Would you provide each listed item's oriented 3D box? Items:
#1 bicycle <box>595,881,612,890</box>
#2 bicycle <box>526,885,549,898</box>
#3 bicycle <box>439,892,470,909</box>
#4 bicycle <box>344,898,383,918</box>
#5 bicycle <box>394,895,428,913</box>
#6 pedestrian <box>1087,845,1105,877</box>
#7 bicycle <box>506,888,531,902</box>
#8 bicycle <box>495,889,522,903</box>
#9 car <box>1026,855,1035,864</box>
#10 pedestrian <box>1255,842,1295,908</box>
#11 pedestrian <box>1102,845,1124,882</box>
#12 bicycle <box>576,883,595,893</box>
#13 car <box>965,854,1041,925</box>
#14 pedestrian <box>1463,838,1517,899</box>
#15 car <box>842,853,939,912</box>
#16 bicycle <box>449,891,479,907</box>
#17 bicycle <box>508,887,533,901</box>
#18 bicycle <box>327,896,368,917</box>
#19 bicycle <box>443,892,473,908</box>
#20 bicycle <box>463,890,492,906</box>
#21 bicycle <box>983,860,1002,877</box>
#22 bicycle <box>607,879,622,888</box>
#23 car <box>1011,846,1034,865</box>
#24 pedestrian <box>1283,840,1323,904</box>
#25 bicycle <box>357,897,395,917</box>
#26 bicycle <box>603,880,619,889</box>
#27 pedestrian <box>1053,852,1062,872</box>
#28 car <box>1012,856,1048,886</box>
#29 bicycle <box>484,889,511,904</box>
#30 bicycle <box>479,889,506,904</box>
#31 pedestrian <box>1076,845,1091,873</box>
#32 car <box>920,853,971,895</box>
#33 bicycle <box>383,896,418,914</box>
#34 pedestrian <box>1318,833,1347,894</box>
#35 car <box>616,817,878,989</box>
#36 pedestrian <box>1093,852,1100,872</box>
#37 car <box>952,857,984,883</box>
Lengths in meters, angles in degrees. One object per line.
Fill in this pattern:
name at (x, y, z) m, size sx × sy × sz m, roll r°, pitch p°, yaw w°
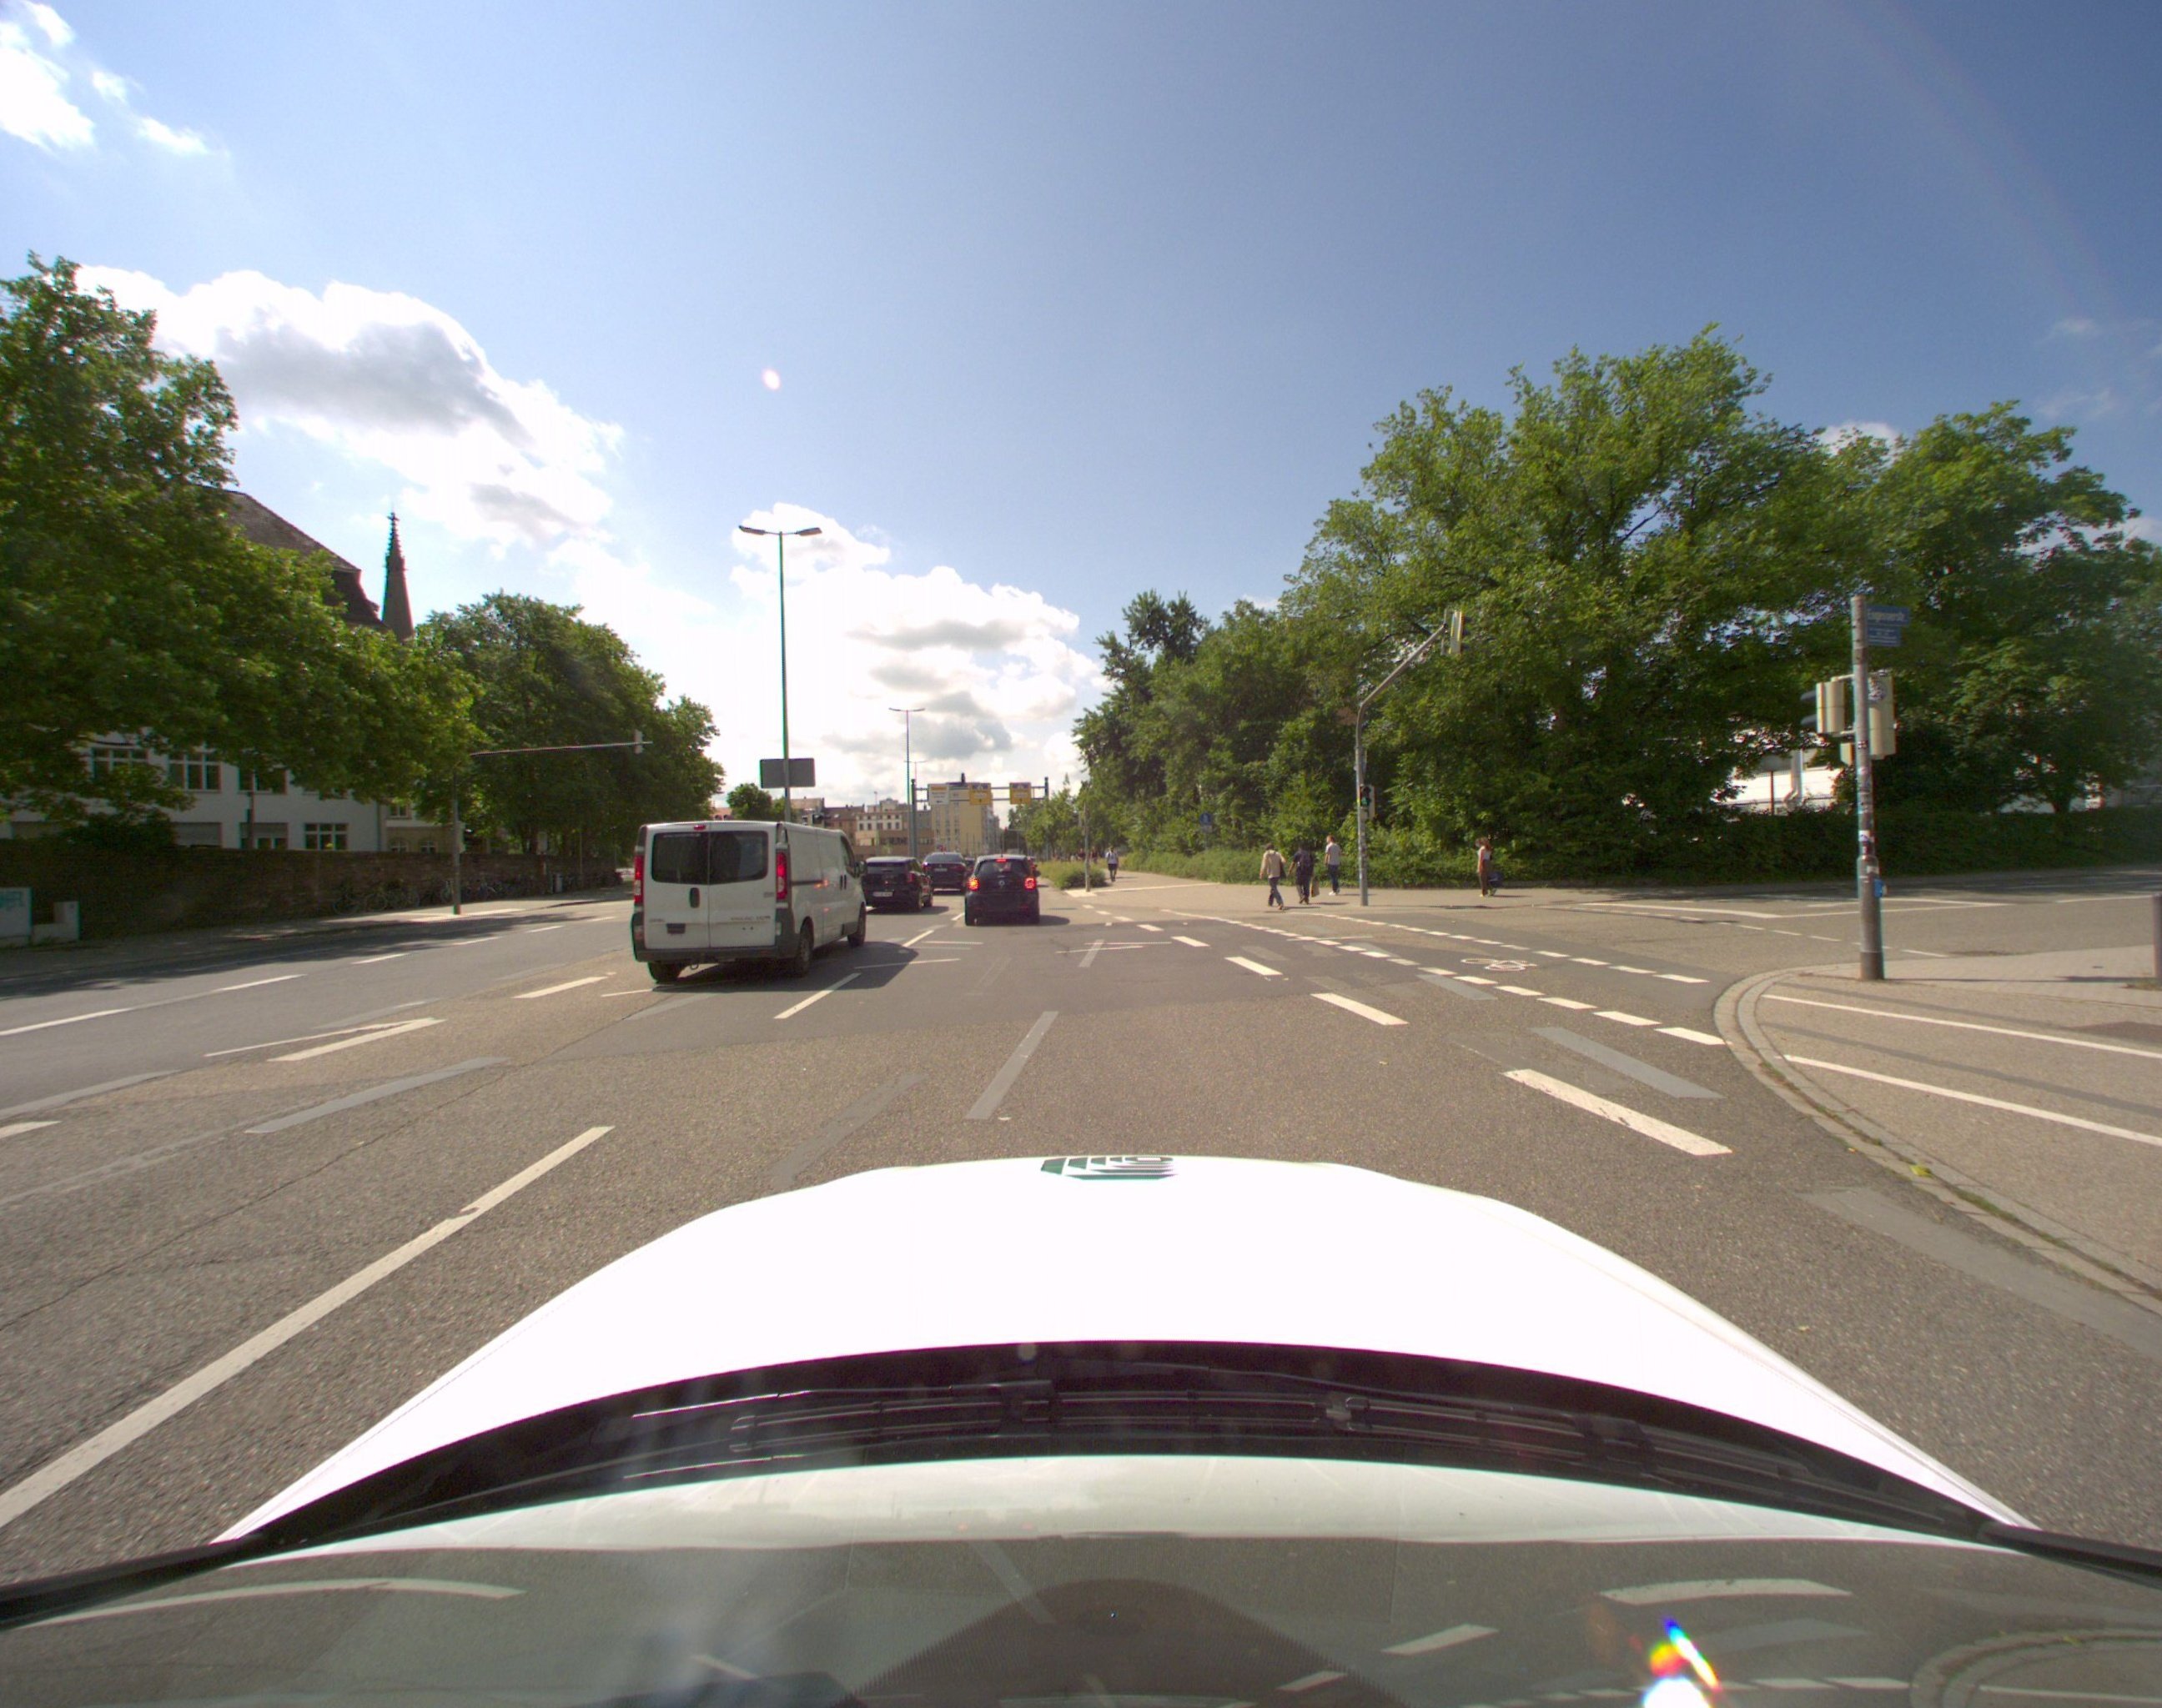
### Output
bicycle at (-35.515, 2.356, 60.568) m, size 0.404 × 0.682 × 1.013 m, roll -1°, pitch -1°, yaw 42°
bicycle at (-30.367, 2.111, 45.509) m, size 0.404 × 0.682 × 1.013 m, roll -1°, pitch -1°, yaw 42°
bicycle at (-27.313, 2.029, 35.486) m, size 0.404 × 0.682 × 1.013 m, roll -1°, pitch -1°, yaw 42°
bicycle at (-26.002, 1.953, 29.542) m, size 1.011 × 0.682 × 0.404 m, roll 0°, pitch -1°, yaw -35°
bicycle at (-27.007, 1.996, 32.845) m, size 1.011 × 0.682 × 0.404 m, roll 0°, pitch -1°, yaw -35°
pedestrian at (0.868, 0.422, 48.131) m, size 0.838 × 1.868 × 1.016 m, roll -2°, pitch 0°, yaw -9°
bicycle at (-29.267, 2.118, 42.389) m, size 0.404 × 0.682 × 1.013 m, roll -1°, pitch -1°, yaw 42°
bicycle at (-28.923, 2.102, 41.144) m, size 0.404 × 0.682 × 1.013 m, roll -1°, pitch -1°, yaw 42°
car at (-10.978, 1.152, 178.275) m, size 1.939 × 1.963 × 3.945 m, roll 0°, pitch -1°, yaw -3°
pedestrian at (5.183, 0.547, 21.816) m, size 0.792 × 1.704 × 1.183 m, roll -1°, pitch 0°, yaw 2°
pedestrian at (1.538, 0.463, 39.308) m, size 0.850 × 1.701 × 0.929 m, roll -3°, pitch -1°, yaw -7°
bicycle at (-33.084, 2.274, 54.354) m, size 0.404 × 0.682 × 1.013 m, roll -1°, pitch -1°, yaw 42°
car at (-1.856, 0.770, 19.127) m, size 1.609 × 1.485 × 3.509 m, roll -1°, pitch -1°, yaw -7°
pedestrian at (11.326, 0.385, 22.577) m, size 0.860 × 1.626 × 1.010 m, roll -3°, pitch 2°, yaw -32°
car at (-5.410, 0.772, 23.803) m, size 2.013 × 1.530 × 4.879 m, roll 0°, pitch -1°, yaw -4°
bicycle at (-27.886, 2.047, 36.818) m, size 0.404 × 0.682 × 1.013 m, roll -1°, pitch -1°, yaw 42°
bicycle at (-29.648, 2.107, 43.078) m, size 0.404 × 0.682 × 1.013 m, roll -1°, pitch -1°, yaw 42°
bicycle at (-25.619, 1.833, 28.449) m, size 1.011 × 0.682 × 0.404 m, roll 0°, pitch -1°, yaw -35°
bicycle at (-27.612, 2.037, 36.102) m, size 0.404 × 0.682 × 1.013 m, roll -1°, pitch -1°, yaw 42°
bicycle at (-28.509, 2.069, 38.487) m, size 0.404 × 0.682 × 1.013 m, roll -1°, pitch -1°, yaw 42°
bicycle at (-10.582, 1.744, 97.187) m, size 1.993 × 2.014 × 3.988 m, roll 0°, pitch -1°, yaw -9°
bicycle at (-38.489, 2.444, 67.247) m, size 0.404 × 0.682 × 1.013 m, roll -1°, pitch -1°, yaw 42°
car at (-4.484, 0.107, 62.522) m, size 1.609 × 1.411 × 3.509 m, roll 0°, pitch 0°, yaw -7°
pedestrian at (6.112, 0.483, 22.490) m, size 0.792 × 1.704 × 1.183 m, roll -1°, pitch 0°, yaw 2°
bicycle at (-26.291, 1.964, 30.376) m, size 1.011 × 0.682 × 0.404 m, roll 0°, pitch -1°, yaw -35°
bicycle at (-36.657, 2.395, 63.520) m, size 0.404 × 0.682 × 1.013 m, roll -1°, pitch -1°, yaw 42°
pedestrian at (-2.437, 0.835, 84.324) m, size 0.838 × 1.969 × 0.858 m, roll -2°, pitch 0°, yaw -9°
car at (-2.581, 0.815, 40.301) m, size 1.609 × 1.411 × 3.509 m, roll 0°, pitch 0°, yaw -7°
bicycle at (-28.753, 2.090, 40.155) m, size 0.404 × 0.682 × 1.013 m, roll -1°, pitch -1°, yaw 42°
bicycle at (-28.591, 2.082, 39.556) m, size 0.404 × 0.682 × 1.013 m, roll -1°, pitch -1°, yaw 42°
pedestrian at (0.179, 0.355, 57.598) m, size 0.838 × 1.969 × 0.858 m, roll -2°, pitch 0°, yaw -9°
car at (-5.563, 0.785, 33.874) m, size 1.825 × 1.601 × 4.383 m, roll 0°, pitch 0°, yaw -7°
bicycle at (-26.521, 1.981, 31.748) m, size 1.011 × 0.682 × 0.404 m, roll 0°, pitch -1°, yaw -35°
pedestrian at (7.633, 0.283, 24.719) m, size 0.668 × 1.821 × 0.703 m, roll -1°, pitch 0°, yaw 1°
car at (-4.483, 0.568, 11.969) m, size 2.002 × 1.955 × 5.186 m, roll 0°, pitch 0°, yaw -4°
pedestrian at (1.442, 0.793, 78.164) m, size 0.503 × 1.890 × 0.557 m, roll 0°, pitch -1°, yaw -20°
car at (-6.038, 0.838, 43.771) m, size 1.609 × 1.325 × 3.509 m, roll -1°, pitch 0°, yaw -7°
